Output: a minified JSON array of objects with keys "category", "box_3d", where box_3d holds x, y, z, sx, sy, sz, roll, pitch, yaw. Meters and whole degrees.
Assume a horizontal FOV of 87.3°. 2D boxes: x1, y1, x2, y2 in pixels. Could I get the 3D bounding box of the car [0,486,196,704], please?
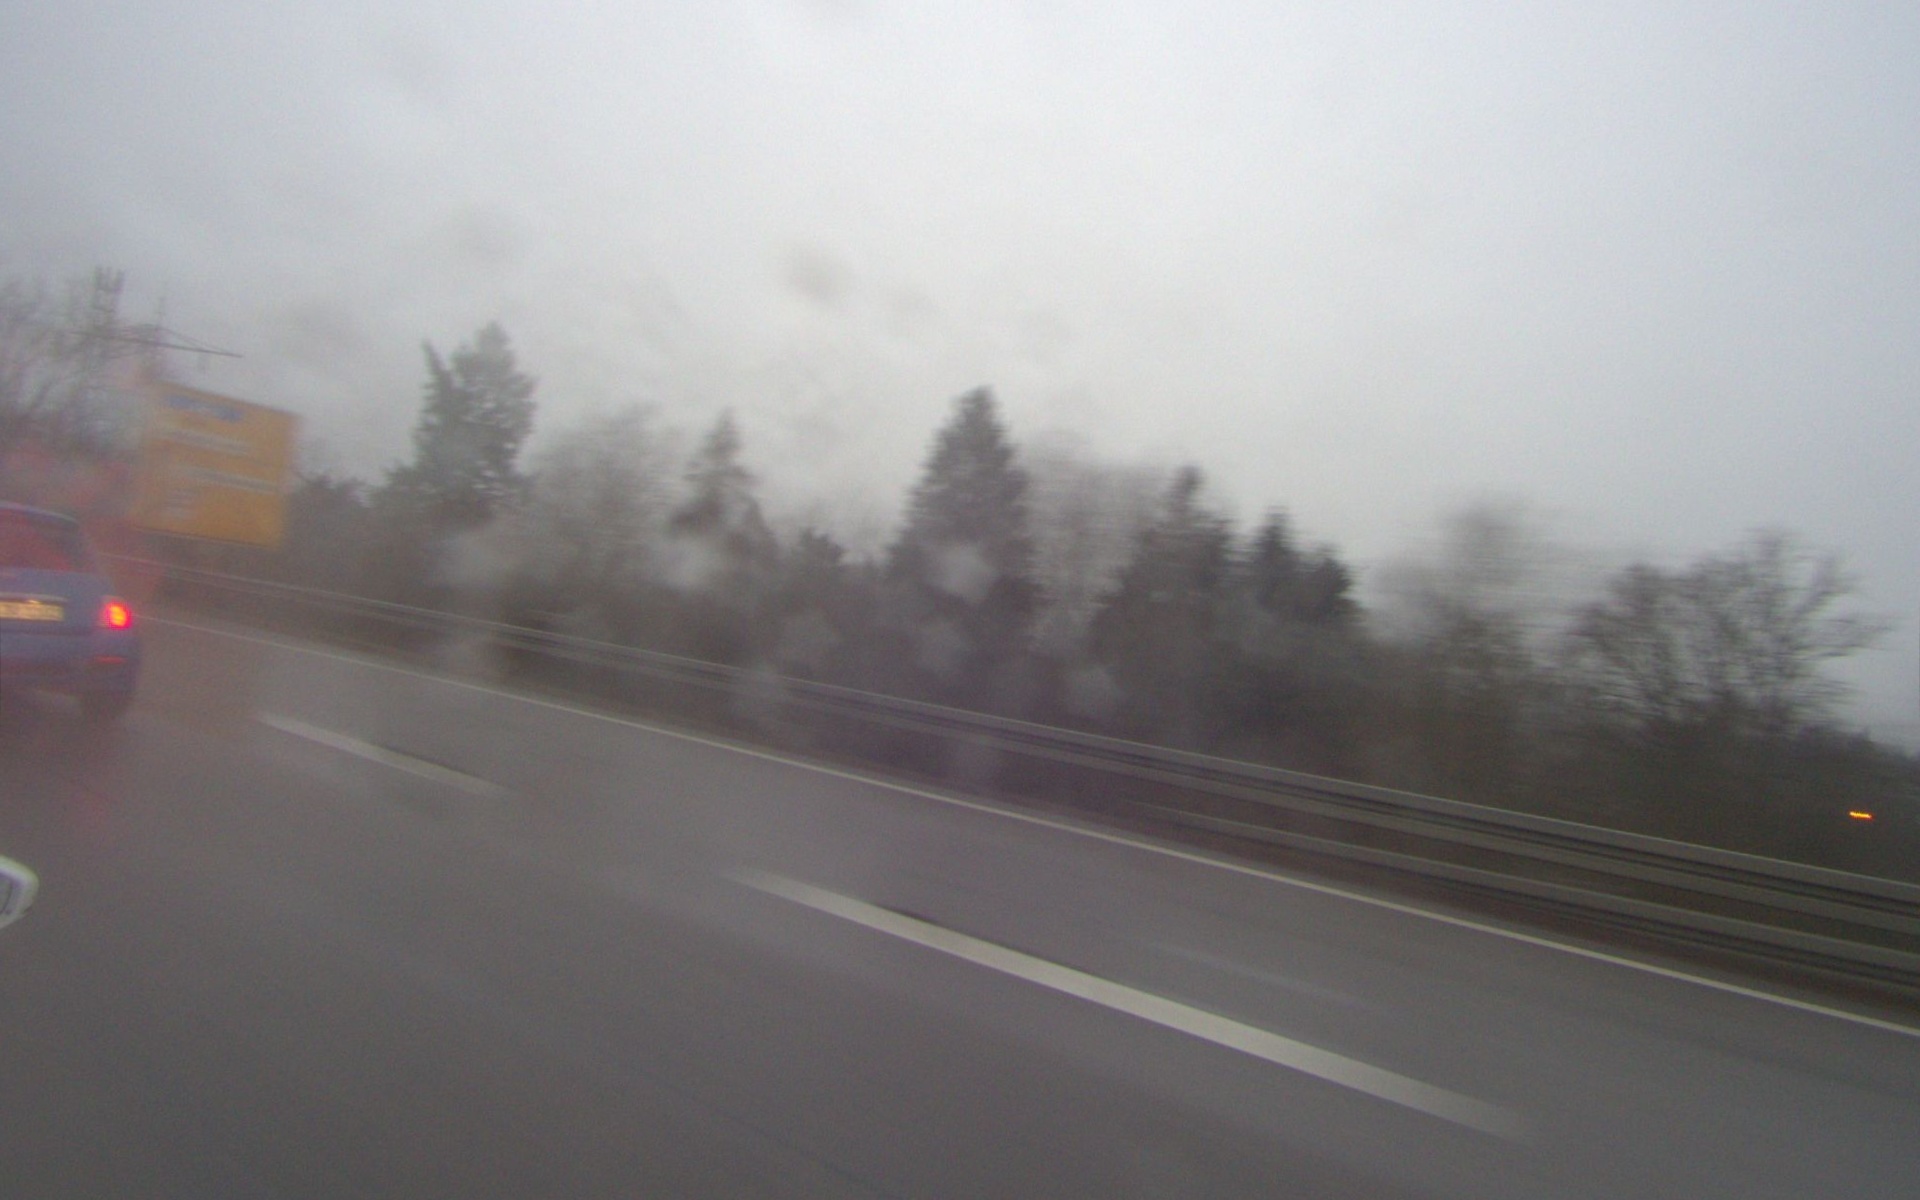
[{"category":"car","box_3d":[-8.213,-0.238,8.097,4.079,1.471,1.849,8,-1,32]}]
